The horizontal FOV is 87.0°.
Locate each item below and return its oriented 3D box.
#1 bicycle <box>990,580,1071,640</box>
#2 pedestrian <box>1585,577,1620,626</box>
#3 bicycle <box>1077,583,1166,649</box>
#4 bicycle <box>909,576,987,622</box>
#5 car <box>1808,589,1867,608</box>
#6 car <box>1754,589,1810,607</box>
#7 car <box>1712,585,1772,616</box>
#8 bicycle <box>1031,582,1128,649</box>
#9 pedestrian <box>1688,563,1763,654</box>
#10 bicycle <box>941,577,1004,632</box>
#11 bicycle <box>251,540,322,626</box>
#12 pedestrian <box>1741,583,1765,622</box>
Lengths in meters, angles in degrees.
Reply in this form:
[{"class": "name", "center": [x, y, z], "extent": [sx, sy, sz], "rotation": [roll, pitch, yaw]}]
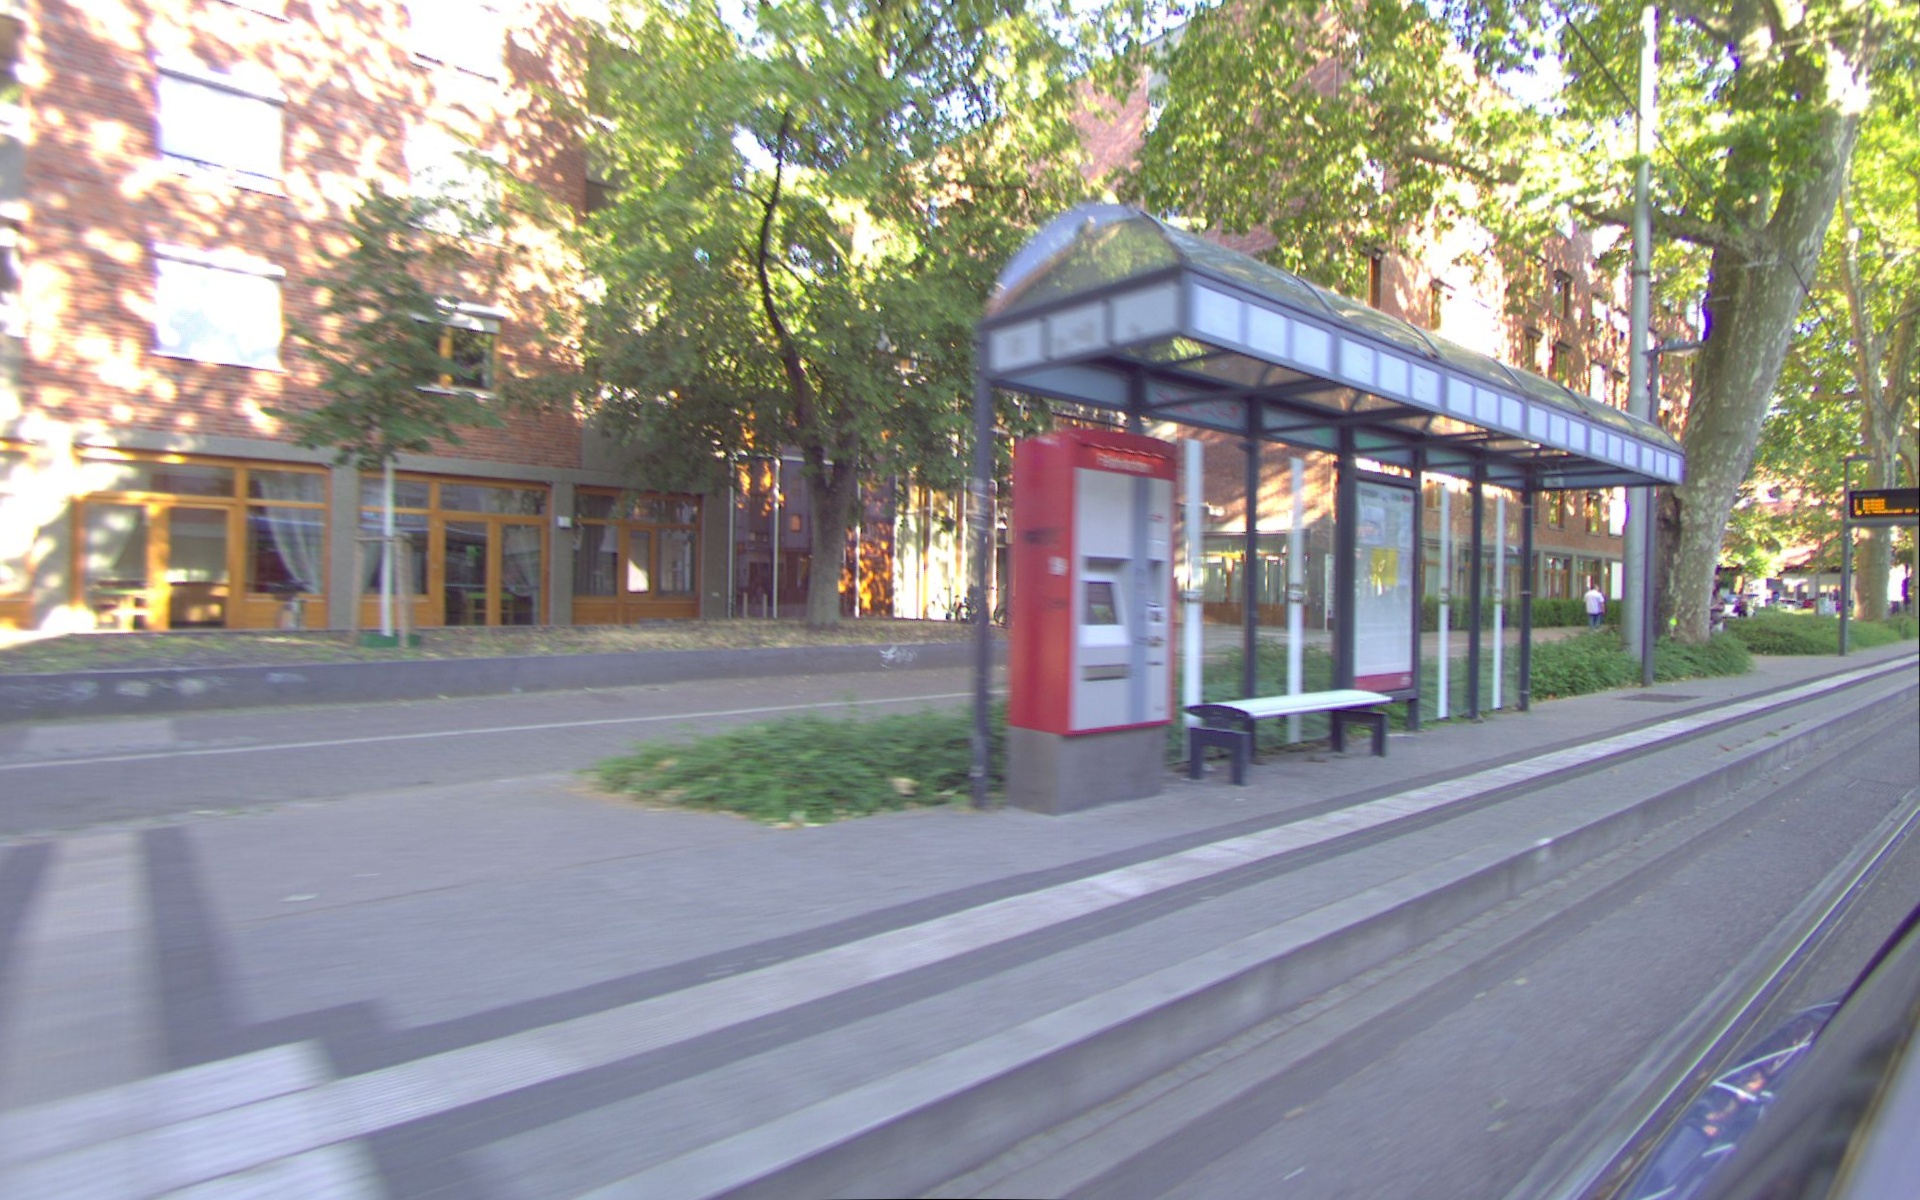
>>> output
[{"class": "bicycle", "center": [1.511, 0.186, 22.100], "extent": [0.561, 1.171, 2.039], "rotation": [0, 3, -35]}, {"class": "pedestrian", "center": [22.314, 0.038, 35.155], "extent": [0.901, 1.680, 0.768], "rotation": [0, 1, -41]}, {"class": "bicycle", "center": [3.187, 0.297, 20.209], "extent": [0.560, 1.171, 2.041], "rotation": [1, 3, -30]}, {"class": "bicycle", "center": [-0.309, -0.029, 27.380], "extent": [1.997, 1.171, 0.709], "rotation": [0, 2, -32]}, {"class": "car", "center": [77.758, -0.161, 89.679], "extent": [1.964, 1.549, 3.674], "rotation": [0, 2, -39]}, {"class": "car", "center": [75.270, -0.188, 92.689], "extent": [1.964, 1.549, 3.674], "rotation": [0, 2, -39]}, {"class": "car", "center": [40.396, 0.009, 52.253], "extent": [3.892, 1.527, 1.657], "rotation": [0, 2, -41]}, {"class": "bicycle", "center": [2.326, 0.282, 19.892], "extent": [0.562, 1.171, 2.036], "rotation": [0, 3, -40]}, {"class": "pedestrian", "center": [14.508, 0.143, 19.195], "extent": [0.756, 1.680, 0.914], "rotation": [1, 1, 10]}, {"class": "bicycle", "center": [0.282, 0.093, 23.636], "extent": [0.561, 1.171, 1.684], "rotation": [0, 3, -35]}, {"class": "bicycle", "center": [-9.831, -0.279, 14.815], "extent": [0.560, 1.171, 1.939], "rotation": [1, 3, -25]}, {"class": "pedestrian", "center": [35.925, 0.102, 45.844], "extent": [0.736, 1.712, 0.710], "rotation": [0, 1, -42]}]
